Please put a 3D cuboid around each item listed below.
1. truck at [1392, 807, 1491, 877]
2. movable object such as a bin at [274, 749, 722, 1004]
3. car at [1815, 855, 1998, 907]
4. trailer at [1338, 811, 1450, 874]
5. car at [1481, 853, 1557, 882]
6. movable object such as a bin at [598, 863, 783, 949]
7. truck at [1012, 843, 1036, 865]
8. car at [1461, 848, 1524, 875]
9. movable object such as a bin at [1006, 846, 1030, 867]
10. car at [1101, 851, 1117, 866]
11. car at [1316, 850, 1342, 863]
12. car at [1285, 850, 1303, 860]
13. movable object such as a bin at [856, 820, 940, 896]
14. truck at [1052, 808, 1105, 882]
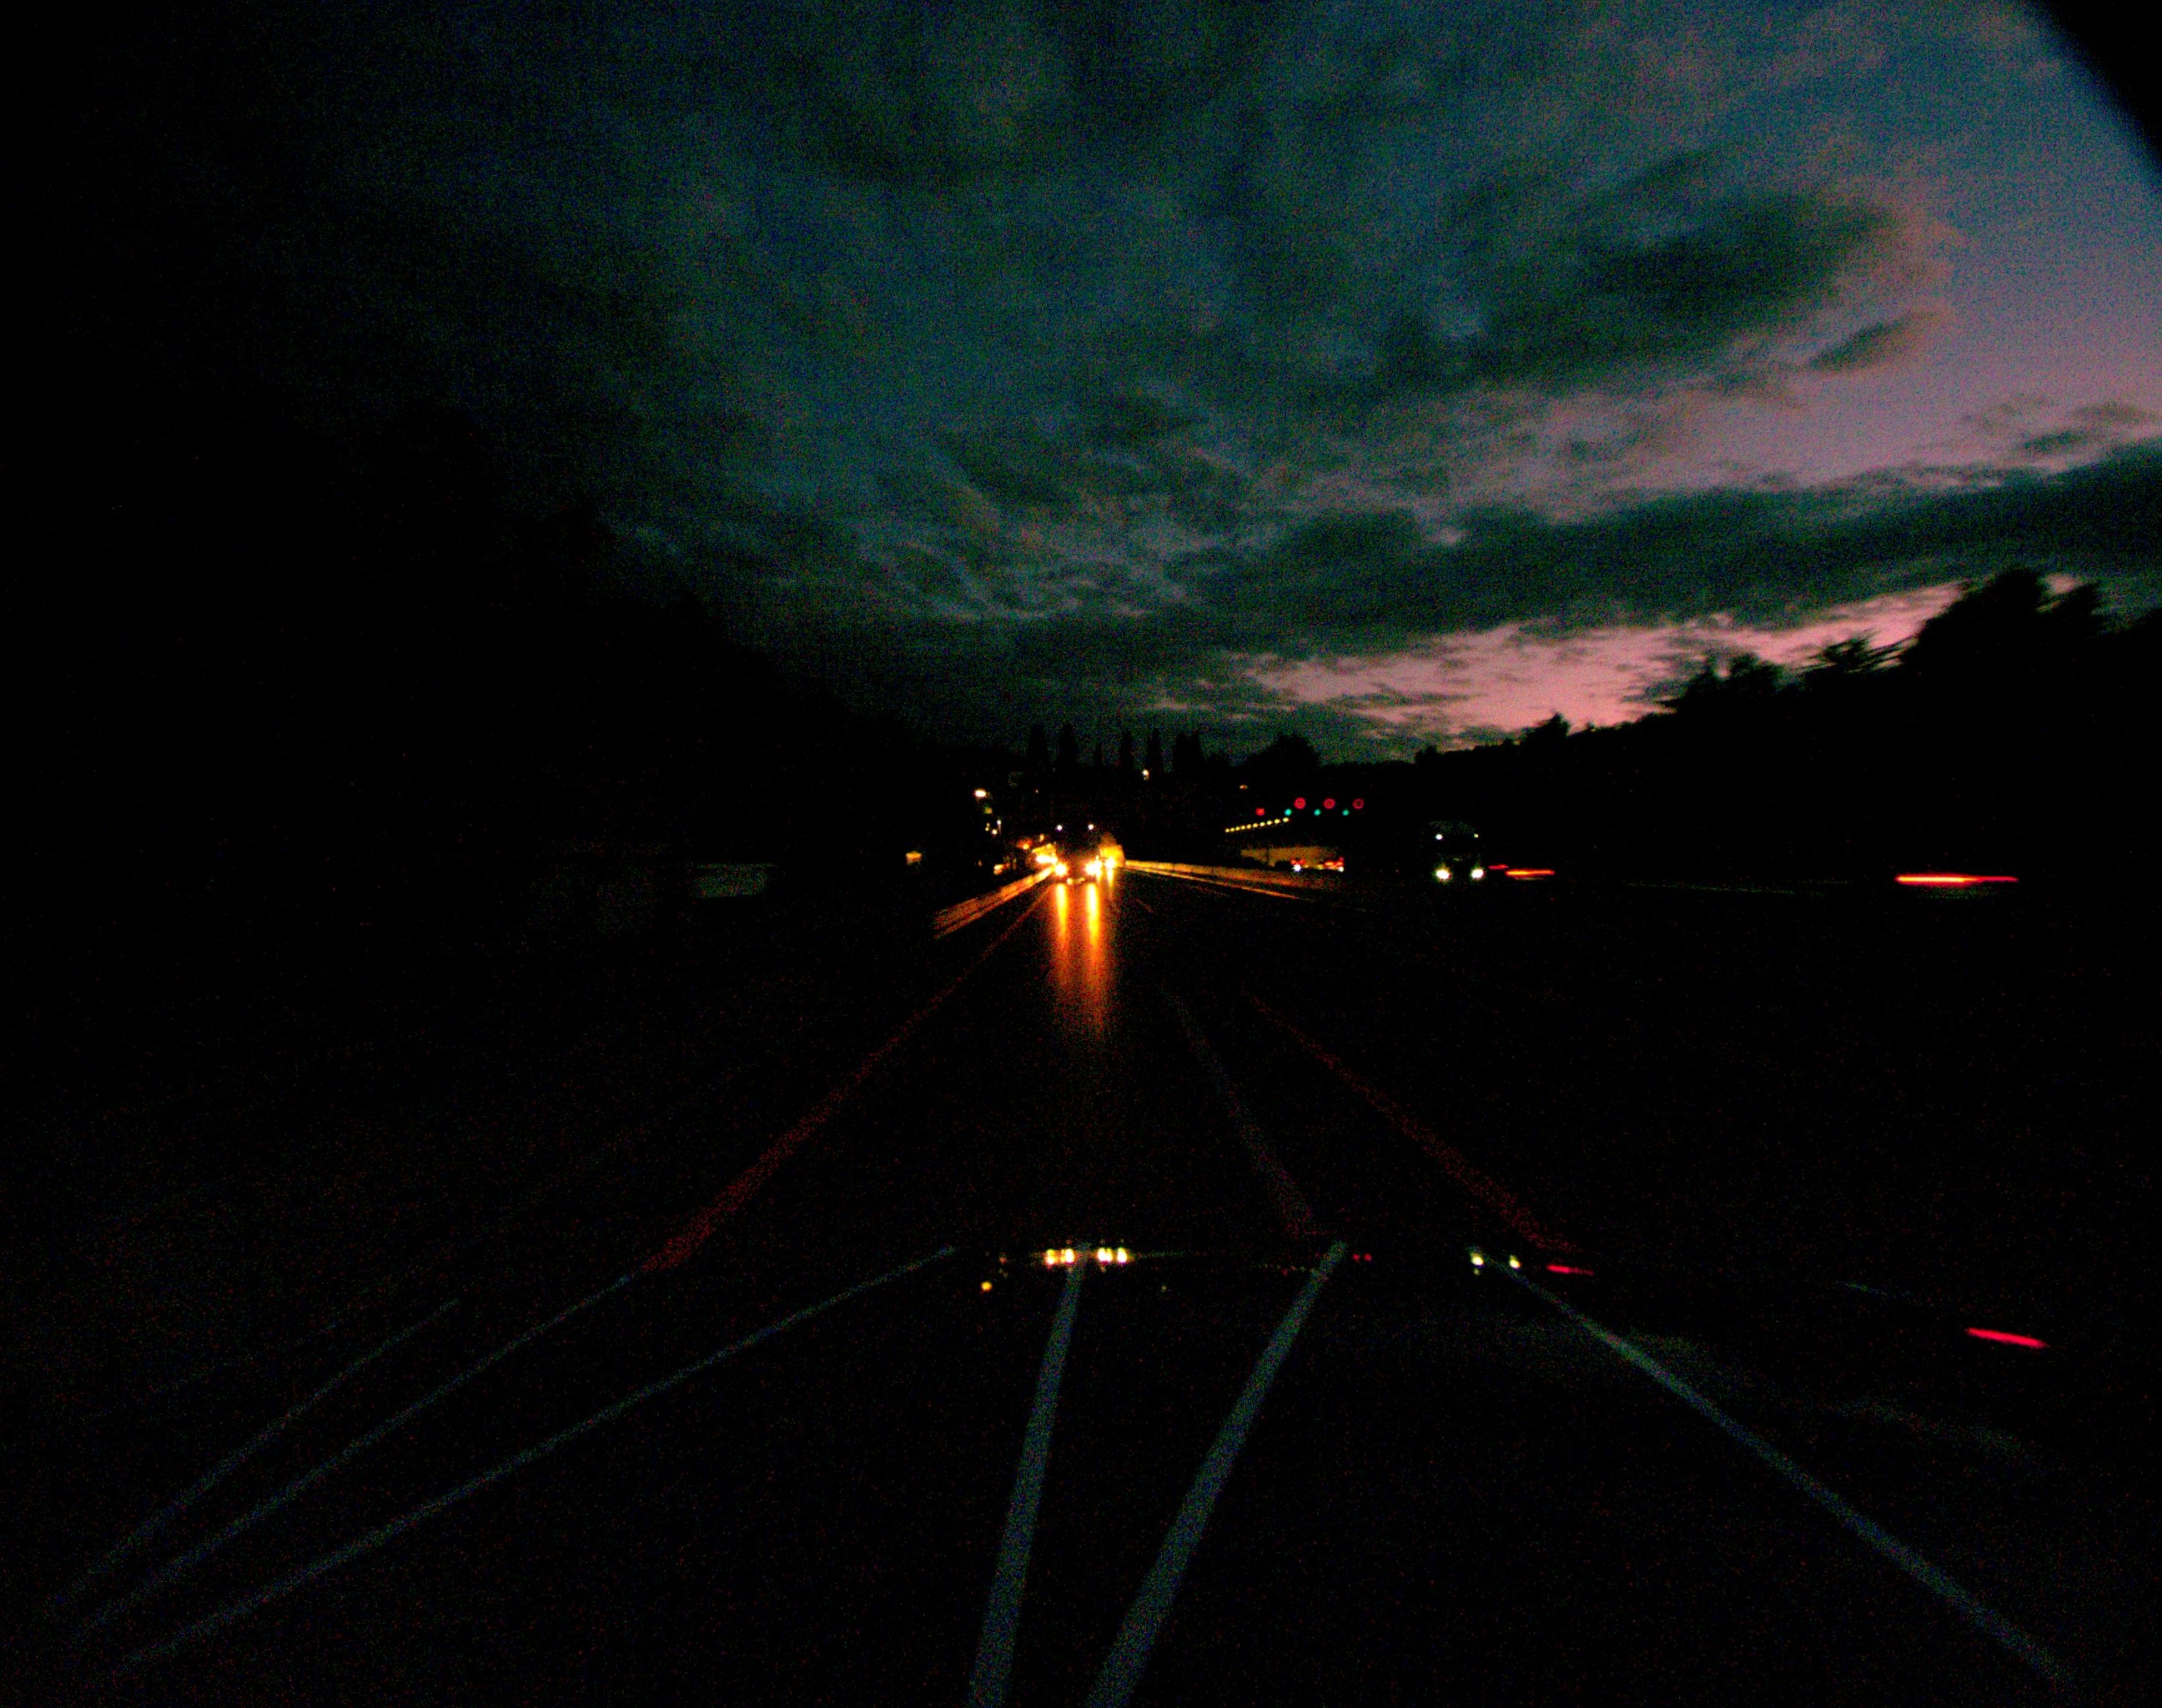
[{"bbox_3d":[21.215,-0.686,45.133,2.809,3.753,6.301,-3,1,0],"label":"truck"},{"bbox_3d":[-8.471,0.246,12.173,2.627,3.090,5.805,-1,1,0],"label":"movable object such as a bin"},{"bbox_3d":[27.371,0.833,25.431,1.668,1.499,4.178,-3,1,2],"label":"car"},{"bbox_3d":[21.268,-0.790,52.645,2.806,3.761,11.834,-3,1,1],"label":"trailer"},{"bbox_3d":[24.969,0.744,43.477,1.755,1.446,4.670,-3,1,2],"label":"car"},{"bbox_3d":[-8.571,1.057,17.149,1.998,1.592,4.084,0,1,1],"label":"movable object such as a bin"},{"bbox_3d":[-8.919,-0.012,119.781,2.825,3.267,8.351,-3,1,0],"label":"truck"},{"bbox_3d":[28.111,0.479,52.110,1.755,1.712,4.669,-3,1,0],"label":"car"},{"bbox_3d":[-8.940,0.294,108.776,2.978,2.811,7.194,-3,1,-2],"label":"movable object such as a bin"},{"bbox_3d":[3.174,0.455,87.592,1.663,1.586,3.996,-3,1,0],"label":"car"},{"bbox_3d":[28.897,0.272,88.550,1.676,1.461,4.647,-3,1,3],"label":"car"},{"bbox_3d":[32.418,0.107,115.703,1.580,1.461,4.095,-3,1,2],"label":"car"},{"bbox_3d":[-8.376,0.139,35.507,2.570,3.299,5.578,0,1,0],"label":"movable object such as a bin"},{"bbox_3d":[-0.066,-0.593,50.260,2.954,4.241,11.051,-3,1,1],"label":"truck"}]
